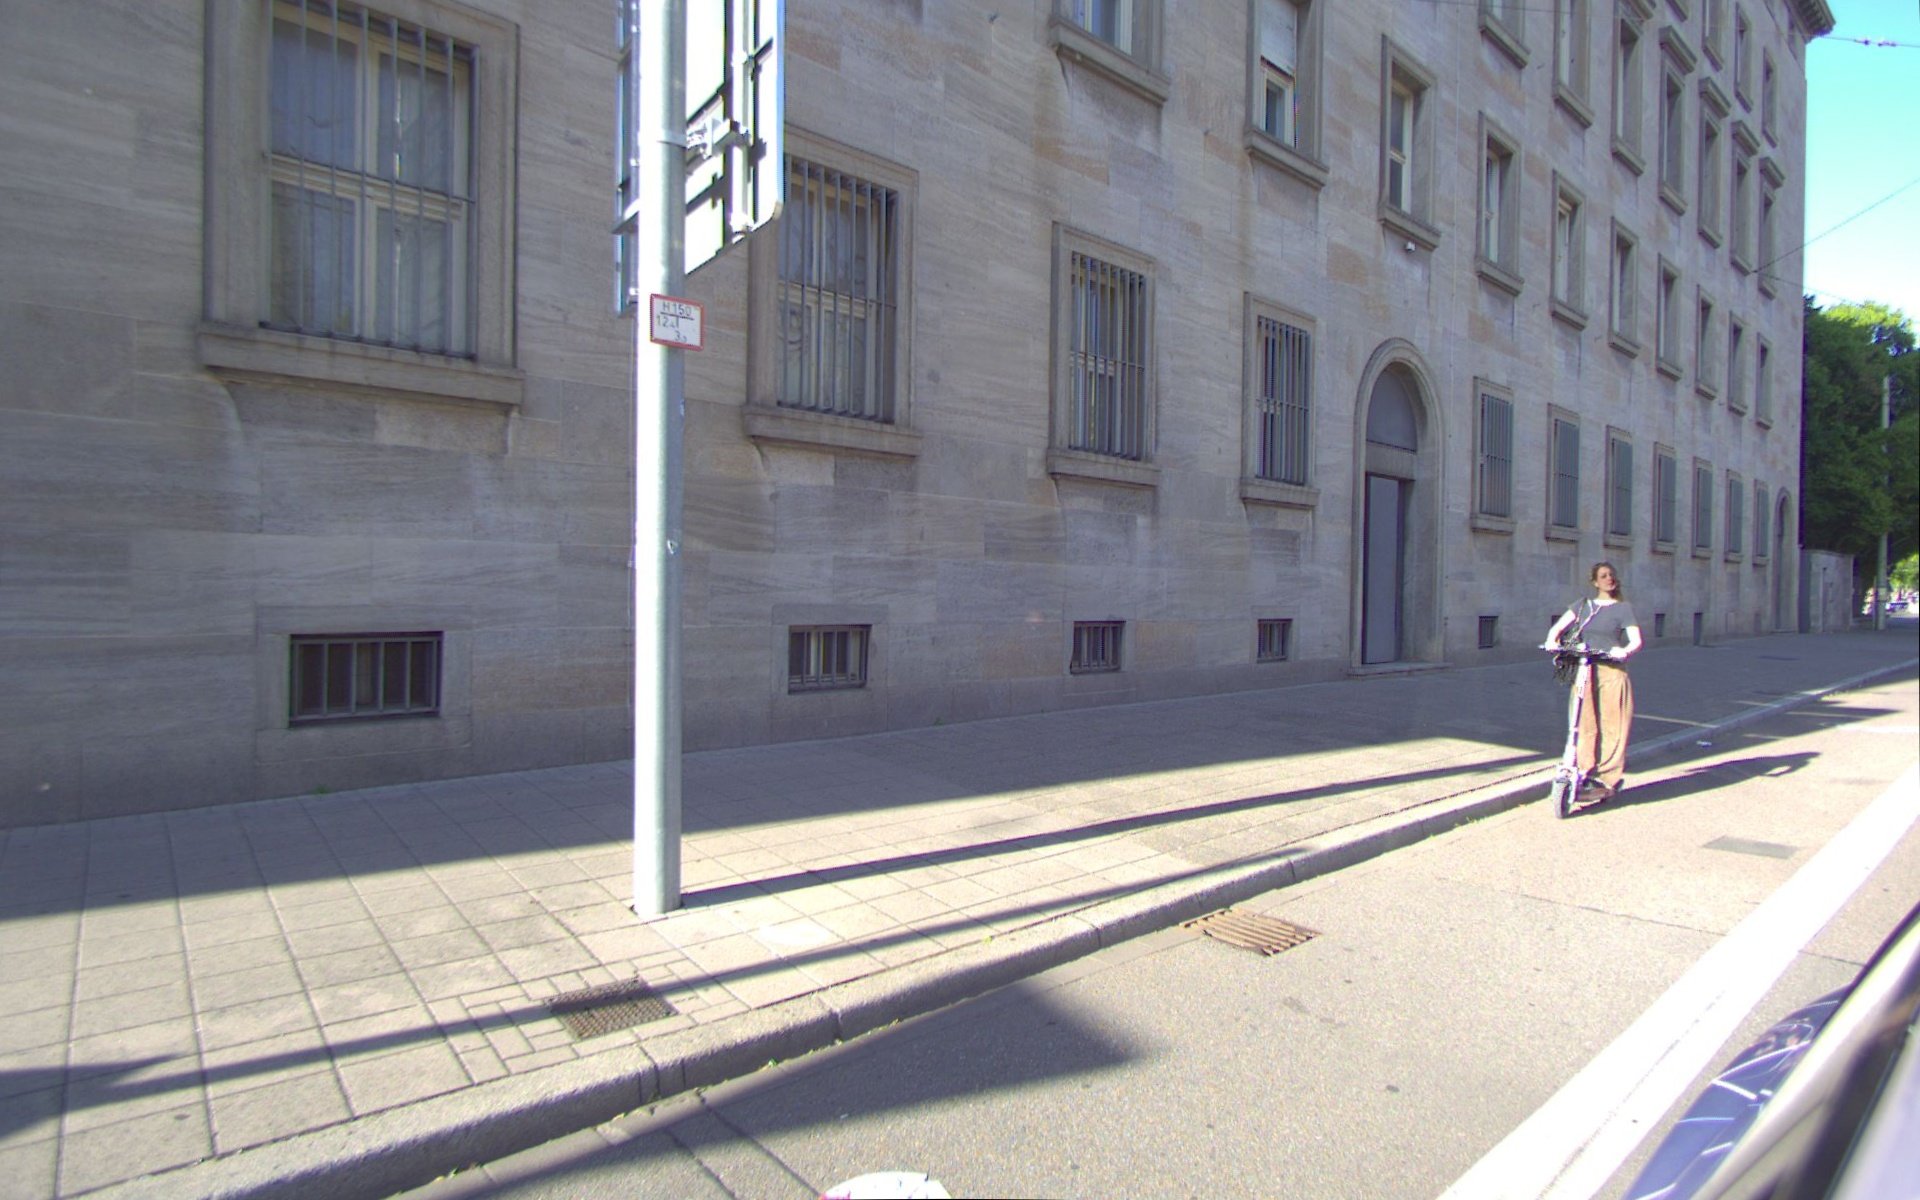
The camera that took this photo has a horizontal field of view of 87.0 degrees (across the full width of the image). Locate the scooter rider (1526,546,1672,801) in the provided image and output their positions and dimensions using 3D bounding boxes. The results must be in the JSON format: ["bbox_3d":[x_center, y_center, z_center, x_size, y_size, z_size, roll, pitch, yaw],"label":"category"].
[{"bbox_3d":[4.517,0.479,7.167,0.547,1.692,0.730,0,1,-42],"label":"scooter rider"}]

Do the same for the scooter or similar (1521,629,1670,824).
[{"bbox_3d":[4.505,0.833,7.147,1.305,1.200,0.535,0,1,-42],"label":"scooter or similar"}]
